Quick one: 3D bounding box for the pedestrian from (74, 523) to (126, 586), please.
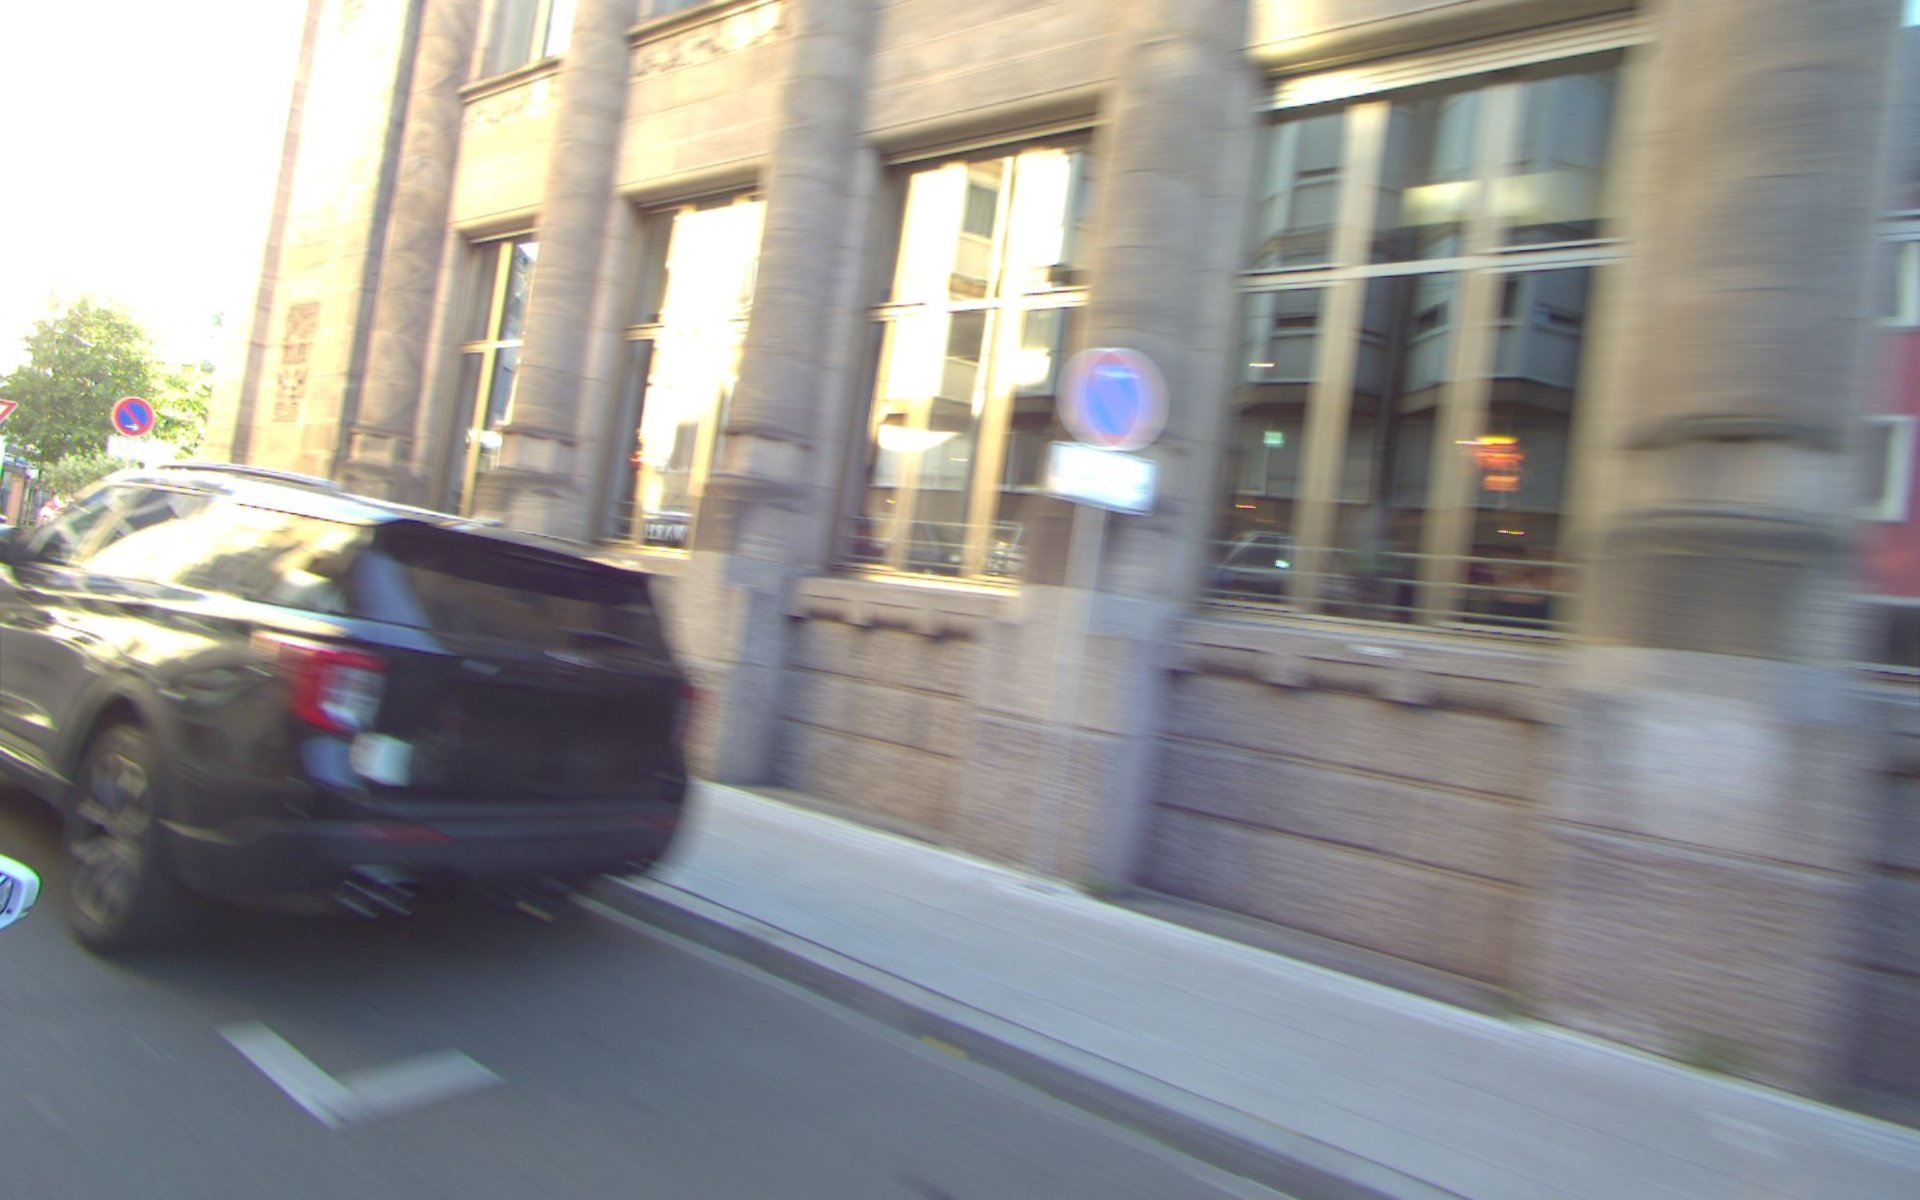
[{"bbox_3d":[-17.948,-0.952,20.992,0.811,1.202,0.605,7,-3,45],"label":"pedestrian"}]

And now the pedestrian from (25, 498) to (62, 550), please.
[{"bbox_3d":[-32.176,-2.678,35.336,0.700,1.689,0.635,10,-1,-39],"label":"pedestrian"}]

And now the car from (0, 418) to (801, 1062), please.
[{"bbox_3d":[-3.385,0.270,4.983,4.854,1.802,1.998,7,-3,33],"label":"car"}]

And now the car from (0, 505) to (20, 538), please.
[{"bbox_3d":[-50.149,-4.215,51.041,1.866,1.615,4.667,10,-3,-22],"label":"car"}]
